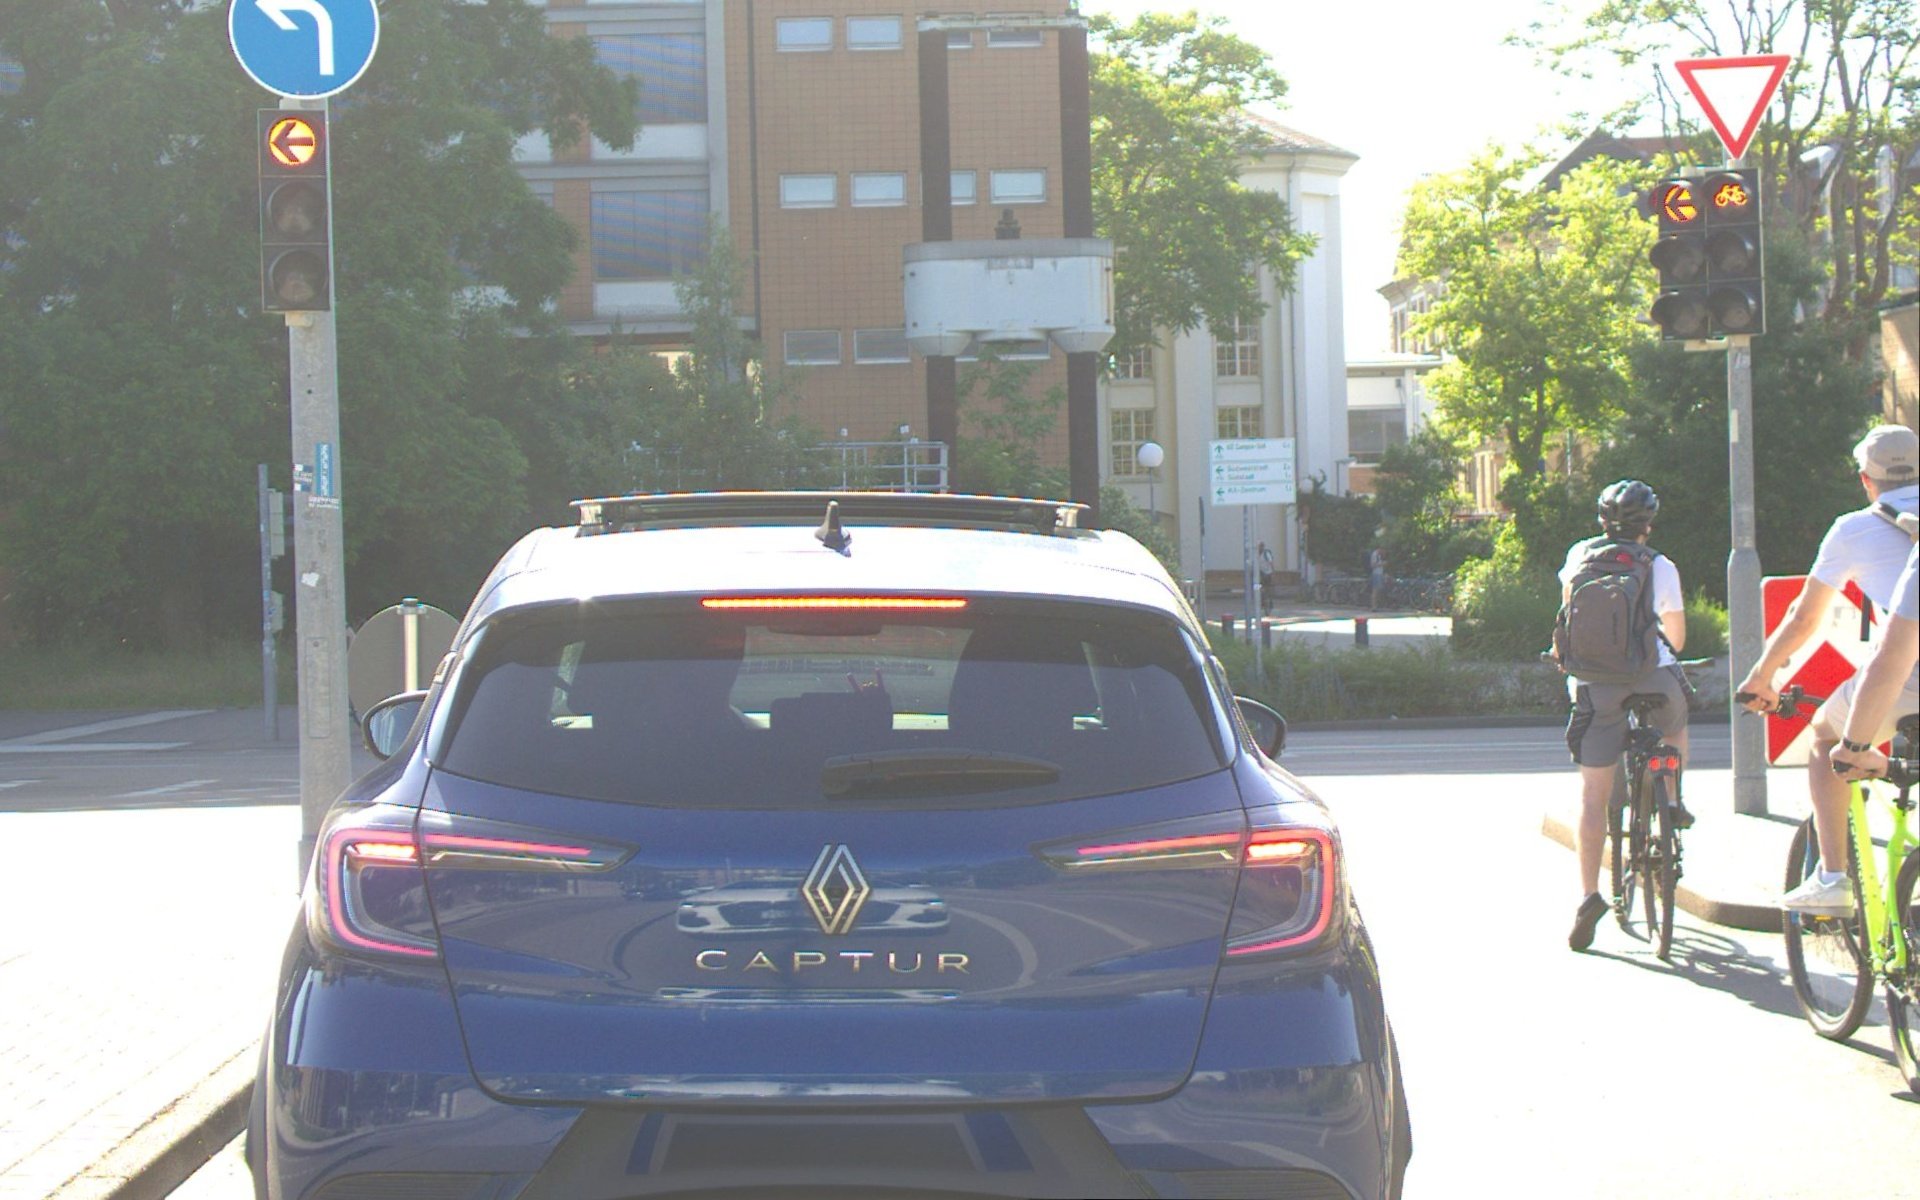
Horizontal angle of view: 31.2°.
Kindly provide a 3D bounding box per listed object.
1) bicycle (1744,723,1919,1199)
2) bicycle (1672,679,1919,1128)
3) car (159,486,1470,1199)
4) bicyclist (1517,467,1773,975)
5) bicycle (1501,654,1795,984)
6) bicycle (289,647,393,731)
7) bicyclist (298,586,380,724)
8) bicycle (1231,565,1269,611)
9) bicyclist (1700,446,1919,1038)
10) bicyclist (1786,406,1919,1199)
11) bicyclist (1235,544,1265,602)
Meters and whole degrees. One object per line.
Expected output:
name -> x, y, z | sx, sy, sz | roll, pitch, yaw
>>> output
bicycle -> 2.226, 0.847, 7.238 | 0.689, 1.085, 1.922 | 0, 1, -1
bicycle -> 2.583, 0.801, 9.792 | 0.689, 1.085, 1.922 | 0, 1, -1
car -> -0.276, 0.611, 6.655 | 1.788, 1.580, 3.915 | 0, 1, -2
bicyclist -> 2.499, 0.419, 12.648 | 0.699, 1.785, 1.142 | 0, 1, -1
bicycle -> 2.524, 0.770, 12.815 | 0.689, 1.085, 1.922 | 0, 1, -1
bicycle -> -7.891, 1.122, 43.912 | 0.755, 0.981, 2.093 | -1, 1, 5
bicyclist -> -7.911, 0.690, 43.802 | 0.755, 1.710, 0.998 | -1, 1, 5
bicycle -> 7.475, -0.314, 88.775 | 0.694, 1.136, 2.441 | -1, 1, -1
bicyclist -> 2.580, 0.375, 9.805 | 0.678, 1.589, 1.142 | 0, 1, -1
bicyclist -> 2.228, 0.503, 7.251 | 0.683, 1.785, 1.142 | 0, 1, -1
bicyclist -> 7.471, -0.693, 88.608 | 0.694, 1.476, 0.717 | -1, 1, 0
